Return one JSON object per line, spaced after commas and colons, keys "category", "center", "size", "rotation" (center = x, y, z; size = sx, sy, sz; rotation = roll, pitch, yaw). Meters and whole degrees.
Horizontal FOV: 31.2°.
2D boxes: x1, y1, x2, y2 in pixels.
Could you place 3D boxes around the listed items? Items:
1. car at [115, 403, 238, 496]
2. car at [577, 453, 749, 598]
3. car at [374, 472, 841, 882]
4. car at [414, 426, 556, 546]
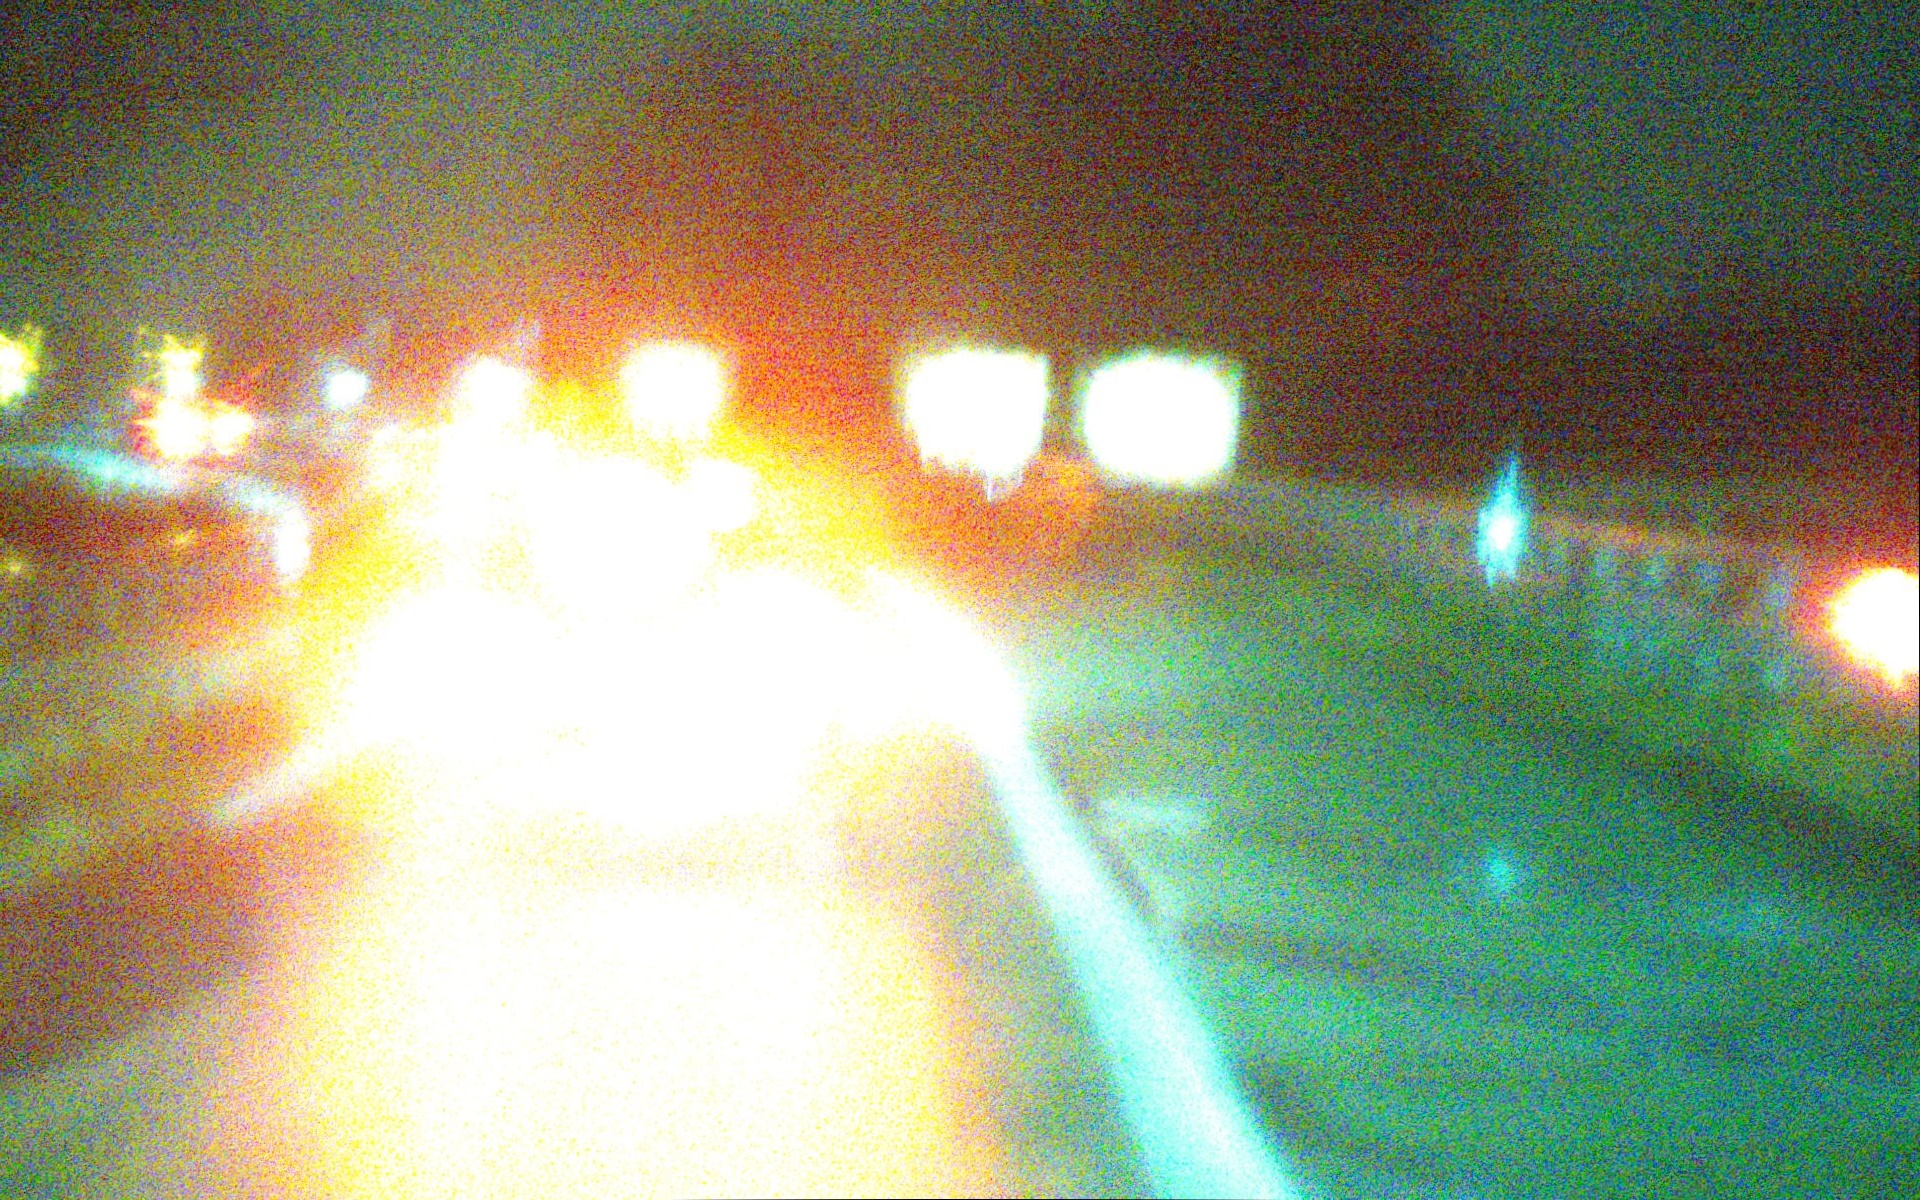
{"category": "car", "center": [-17.553, -3.372, 76.869], "size": [1.895, 1.991, 4.047], "rotation": [0, 3, -25]}
{"category": "car", "center": [-3.769, -0.953, 43.132], "size": [1.895, 1.714, 4.047], "rotation": [-1, 2, -8]}
{"category": "car", "center": [-1.574, 0.242, 15.847], "size": [1.860, 1.641, 4.070], "rotation": [0, 2, -5]}
{"category": "car", "center": [-8.373, -2.024, 60.330], "size": [1.895, 2.033, 4.047], "rotation": [0, 3, -16]}
